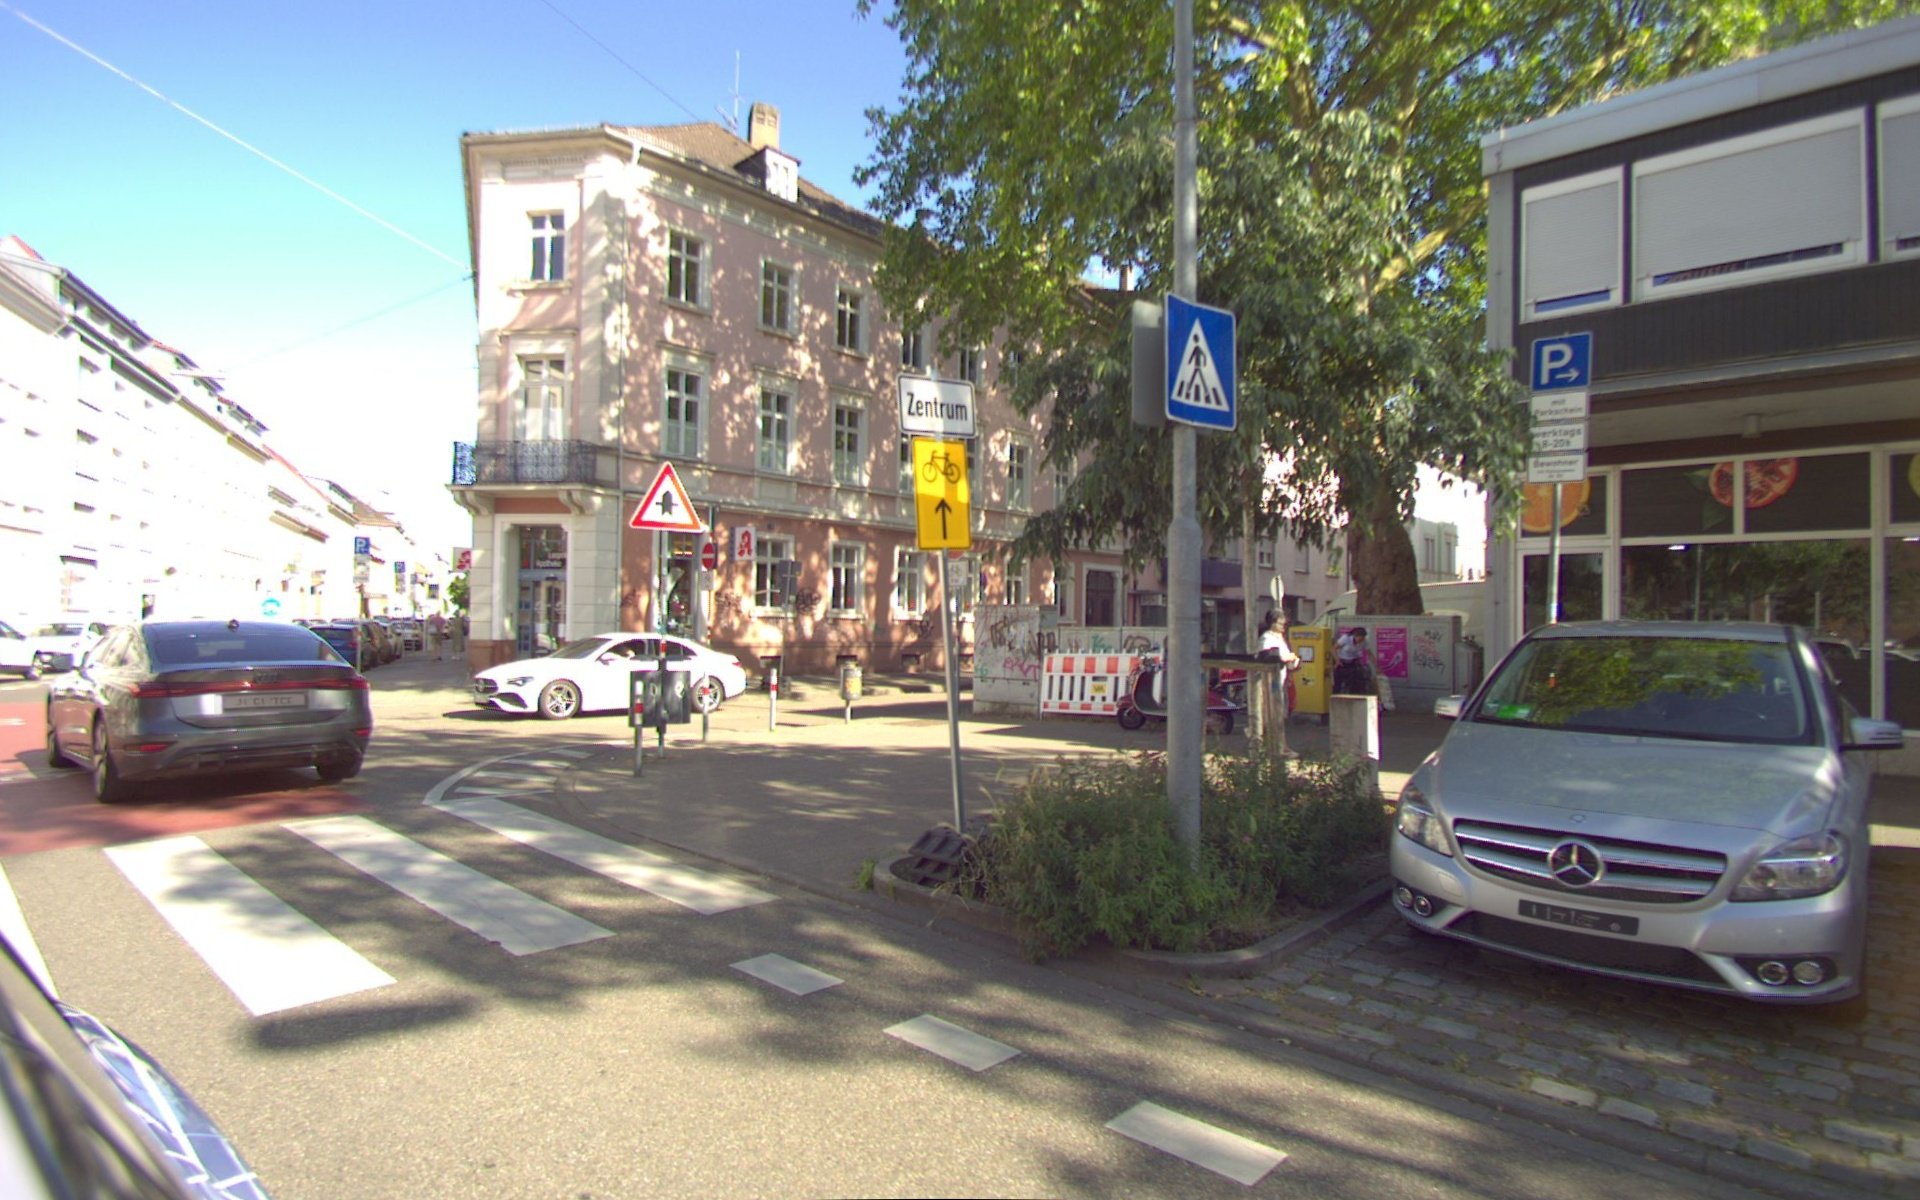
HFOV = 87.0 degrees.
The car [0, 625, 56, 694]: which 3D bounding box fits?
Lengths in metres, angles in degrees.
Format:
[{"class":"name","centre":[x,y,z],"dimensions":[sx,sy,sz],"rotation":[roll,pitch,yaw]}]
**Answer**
[{"class":"car","centre":[-22.741,1.365,23.319],"dimensions":[1.617,1.553,4.397],"rotation":[0,-2,-25]}]

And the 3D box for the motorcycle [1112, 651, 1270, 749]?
[{"class":"motorcycle","centre":[2.982,1.269,13.220],"dimensions":[1.922,1.189,0.660],"rotation":[-4,-4,43]}]

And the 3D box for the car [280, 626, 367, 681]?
[{"class":"car","centre":[-19.128,1.593,30.557],"dimensions":[1.677,1.444,3.651],"rotation":[4,-2,-24]}]

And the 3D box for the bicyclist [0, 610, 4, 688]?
[{"class":"bicyclist","centre":[-19.191,0.956,19.657],"dimensions":[0.627,1.558,1.028],"rotation":[2,-3,-30]}]

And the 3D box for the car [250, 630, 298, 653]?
[{"class":"car","centre":[-40.412,2.418,59.679],"dimensions":[1.677,1.309,3.651],"rotation":[2,-2,-25]}]

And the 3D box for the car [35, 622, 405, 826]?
[{"class":"car","centre":[-7.158,0.989,9.585],"dimensions":[4.576,1.465,1.888],"rotation":[-1,-4,42]}]

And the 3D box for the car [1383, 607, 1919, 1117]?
[{"class":"car","centre":[3.894,0.917,5.373],"dimensions":[1.758,1.625,4.244],"rotation":[-1,-3,42]}]

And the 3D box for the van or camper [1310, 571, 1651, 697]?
[{"class":"van or camper","centre":[12.264,0.979,24.428],"dimensions":[6.929,2.594,1.971],"rotation":[-6,-6,44]}]

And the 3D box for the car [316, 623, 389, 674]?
[{"class":"car","centre":[-20.966,1.640,35.066],"dimensions":[1.677,1.549,3.651],"rotation":[4,-2,-24]}]

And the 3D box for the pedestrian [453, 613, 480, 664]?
[{"class":"pedestrian","centre":[-17.646,1.379,36.204],"dimensions":[0.816,1.778,0.754],"rotation":[2,0,-24]}]

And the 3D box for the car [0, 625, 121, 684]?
[{"class":"car","centre":[-25.472,1.498,28.765],"dimensions":[1.604,1.553,3.651],"rotation":[0,-2,-25]}]

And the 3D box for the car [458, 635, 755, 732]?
[{"class":"car","centre":[-5.984,1.398,17.563],"dimensions":[1.864,1.468,4.497],"rotation":[-3,-5,43]}]

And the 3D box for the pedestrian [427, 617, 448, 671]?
[{"class":"pedestrian","centre":[-18.477,1.544,35.791],"dimensions":[0.561,1.871,0.709],"rotation":[3,-3,-28]}]

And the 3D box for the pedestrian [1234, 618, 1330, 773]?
[{"class":"pedestrian","centre":[3.453,0.998,10.923],"dimensions":[0.837,1.585,0.844],"rotation":[0,-2,8]}]

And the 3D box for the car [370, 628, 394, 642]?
[{"class":"car","centre":[-57.122,3.446,100.025],"dimensions":[1.677,1.309,3.651],"rotation":[2,-2,-25]}]

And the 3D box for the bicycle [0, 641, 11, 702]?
[{"class":"bicycle","centre":[-19.164,1.422,19.606],"dimensions":[0.661,1.208,1.931],"rotation":[1,-1,-29]}]
